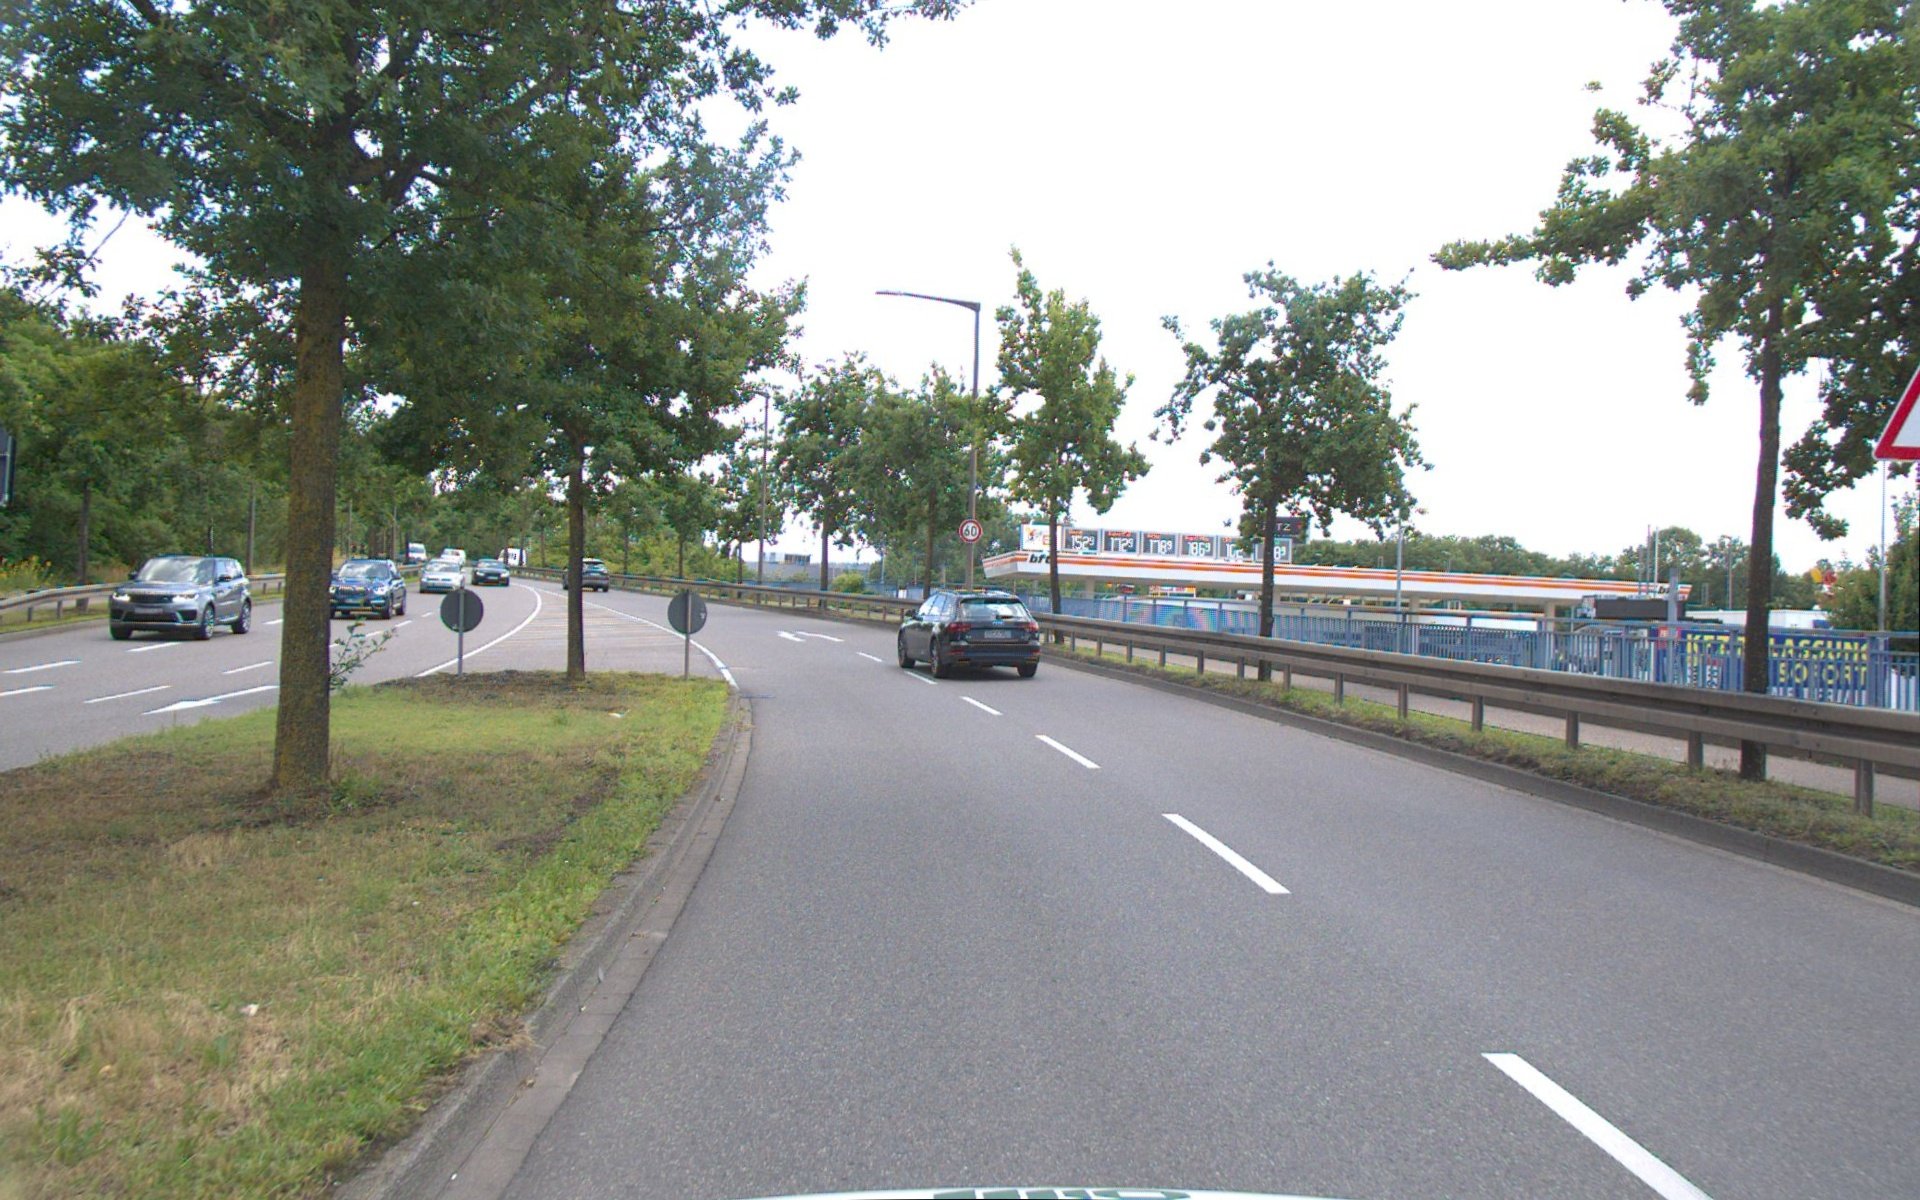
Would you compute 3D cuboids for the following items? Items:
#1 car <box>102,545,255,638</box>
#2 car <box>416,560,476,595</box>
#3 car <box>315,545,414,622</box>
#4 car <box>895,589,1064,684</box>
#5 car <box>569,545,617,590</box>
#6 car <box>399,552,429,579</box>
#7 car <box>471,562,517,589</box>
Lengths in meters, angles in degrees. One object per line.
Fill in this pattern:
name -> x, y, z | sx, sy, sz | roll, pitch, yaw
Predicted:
car -> -17.485, -0.178, 37.254 | 1.958, 1.894, 4.702 | 2, 0, -11
car -> -22.871, -1.021, 73.742 | 1.958, 1.420, 4.688 | 2, 1, -11
car -> -17.523, -0.534, 48.848 | 1.958, 2.048, 4.805 | 2, 2, -11
car -> 0.245, 0.586, 29.036 | 1.959, 1.414, 4.562 | 4, 0, -12
car -> -19.128, -1.649, 86.142 | 1.962, 2.073, 4.689 | 3, -2, -17
car -> -45.058, -2.866, 136.492 | 1.961, 2.048, 4.541 | 3, 1, -15
car -> -24.875, -1.290, 88.423 | 1.869, 1.387, 4.565 | 0, 1, -10
